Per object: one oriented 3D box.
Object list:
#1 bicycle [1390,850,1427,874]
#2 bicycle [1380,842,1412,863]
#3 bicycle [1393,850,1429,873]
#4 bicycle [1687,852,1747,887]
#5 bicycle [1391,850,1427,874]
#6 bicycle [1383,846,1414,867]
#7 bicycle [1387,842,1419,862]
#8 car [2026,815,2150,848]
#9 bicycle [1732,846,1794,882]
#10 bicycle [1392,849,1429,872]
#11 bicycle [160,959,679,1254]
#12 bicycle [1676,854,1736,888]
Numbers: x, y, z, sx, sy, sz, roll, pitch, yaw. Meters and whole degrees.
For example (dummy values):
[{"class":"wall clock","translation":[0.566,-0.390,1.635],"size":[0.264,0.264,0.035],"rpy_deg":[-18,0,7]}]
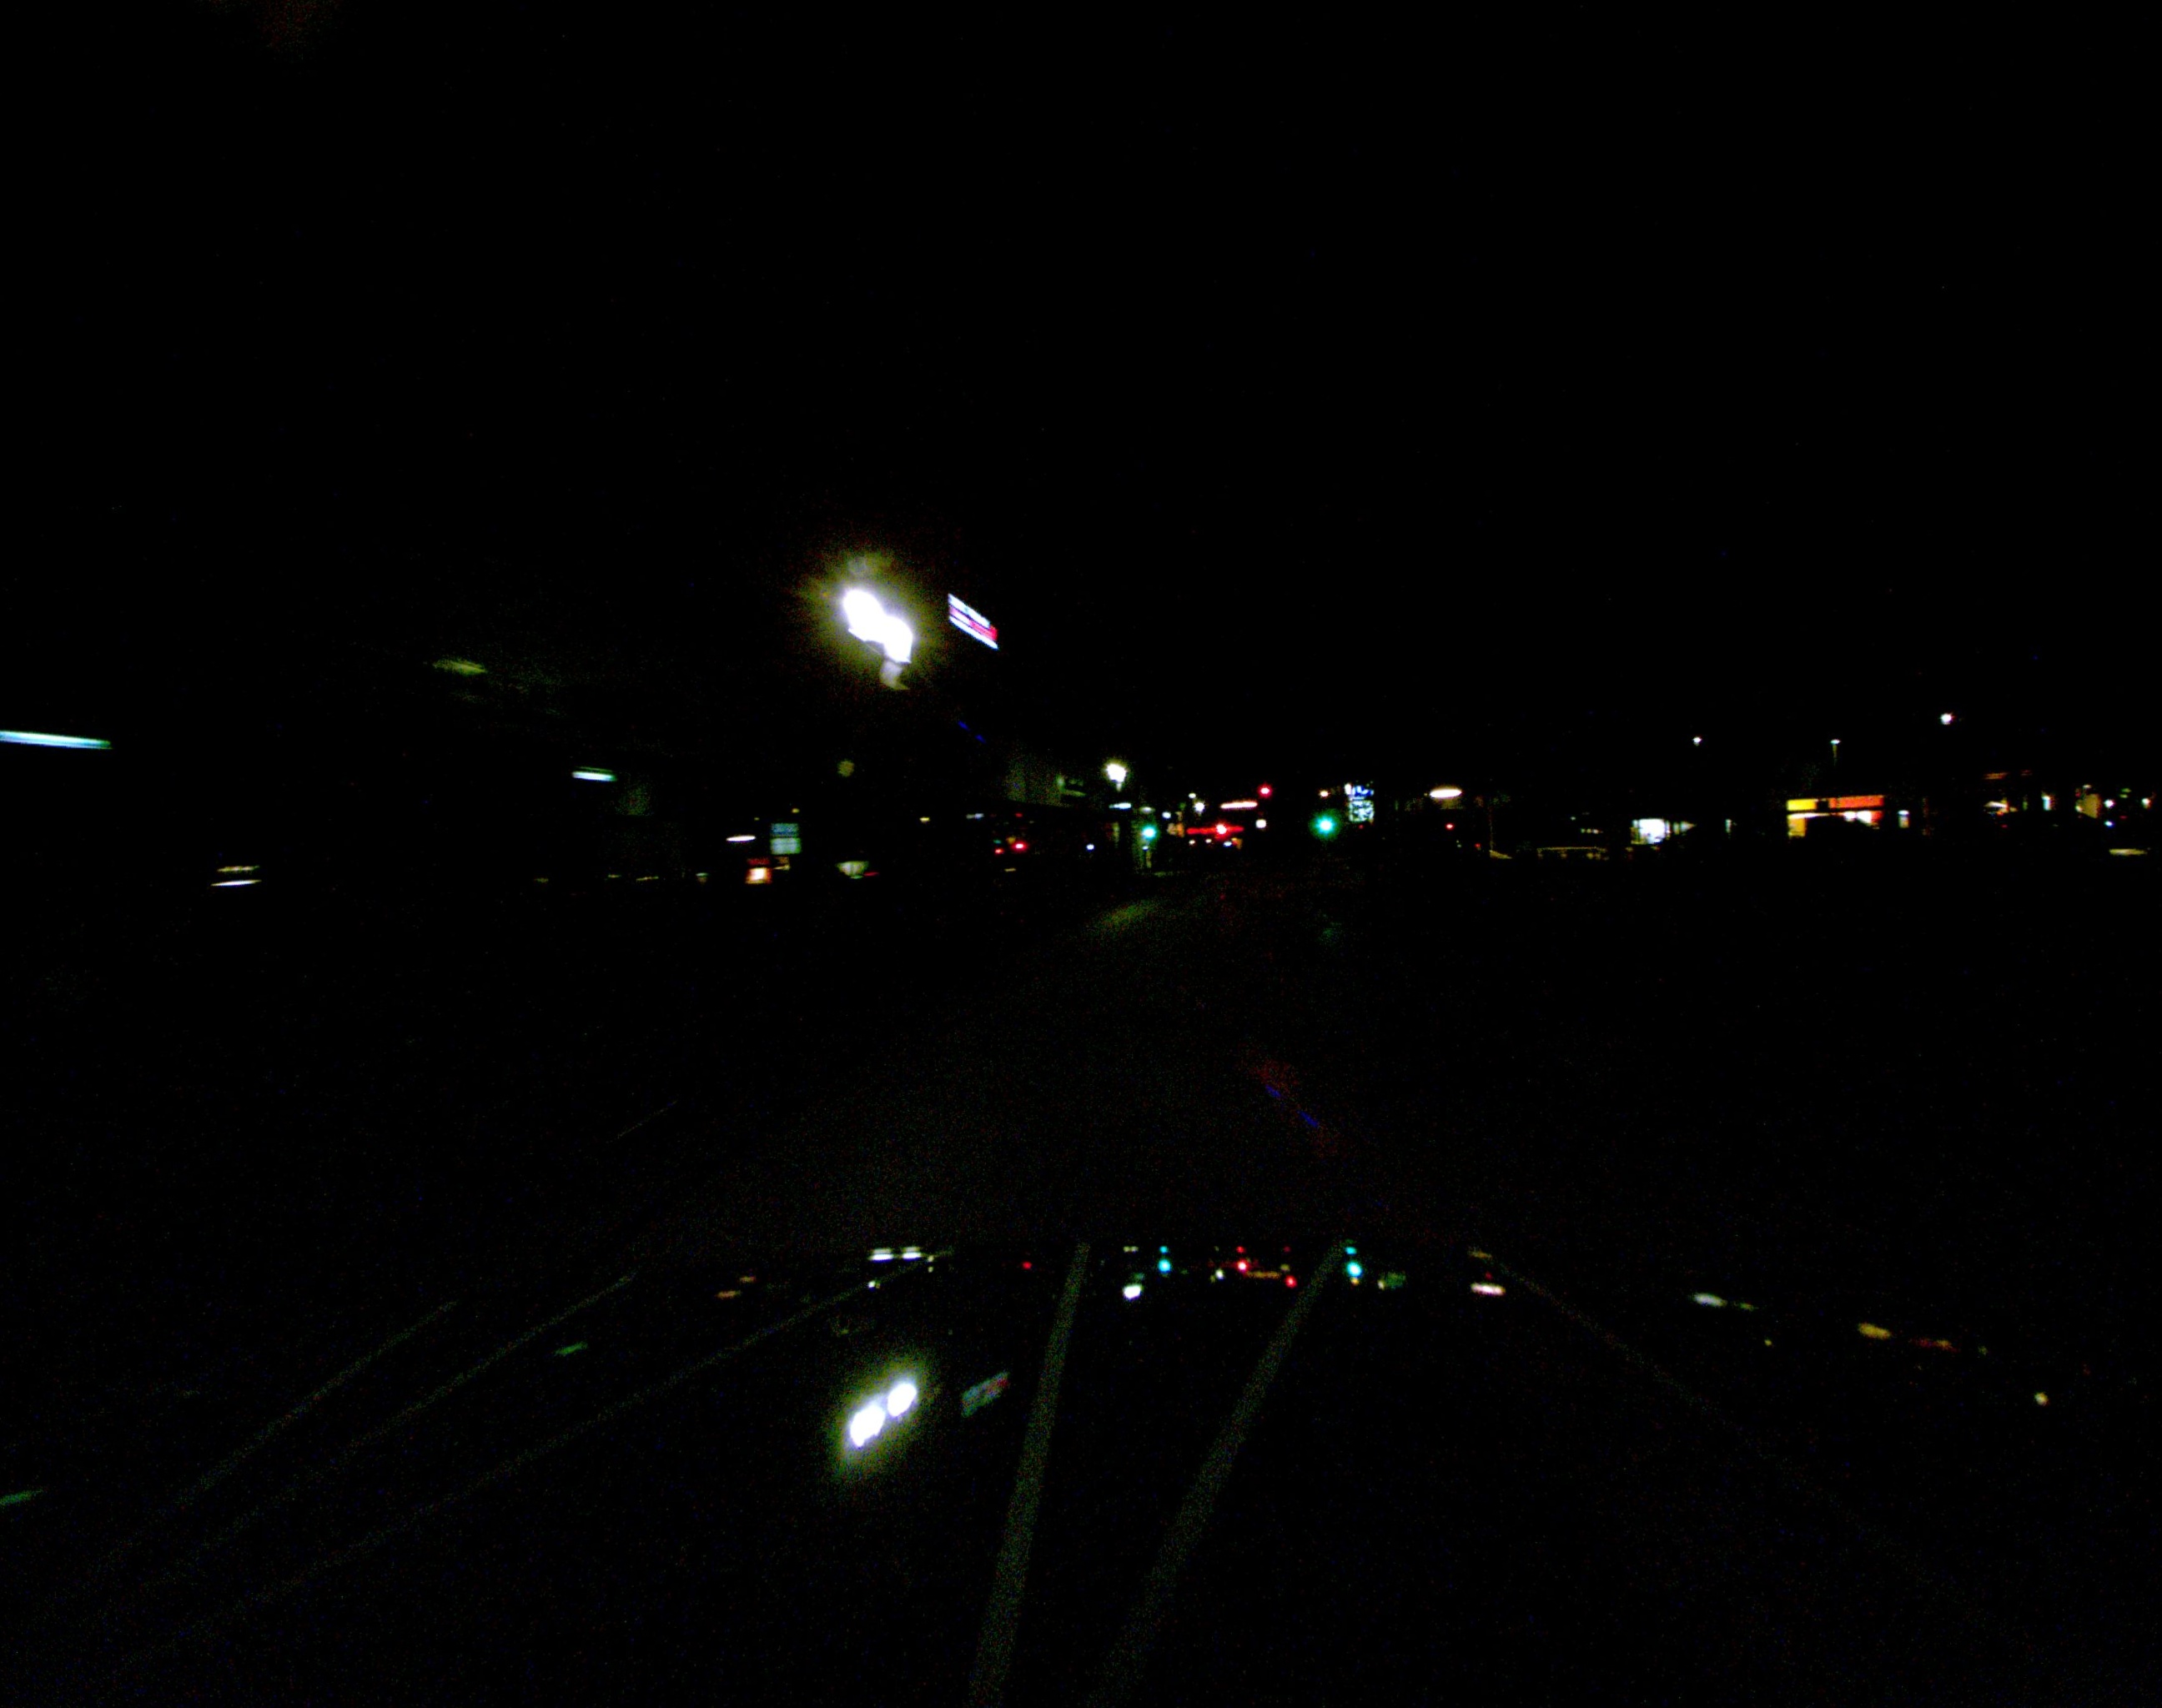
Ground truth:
[{"class":"bicycle","translation":[16.074,0.413,37.318],"size":[1.618,1.099,0.671],"rpy_deg":[-2,2,17]},{"class":"bicycle","translation":[19.710,-0.109,47.556],"size":[1.737,1.159,0.788],"rpy_deg":[-4,-1,22]},{"class":"bicycle","translation":[16.999,0.387,39.189],"size":[1.618,1.099,0.671],"rpy_deg":[-2,2,17]},{"class":"bicycle","translation":[22.145,0.526,26.490],"size":[0.608,1.158,1.747],"rpy_deg":[-1,0,0]},{"class":"bicycle","translation":[16.611,0.407,38.522],"size":[1.618,1.099,0.671],"rpy_deg":[-2,1,17]},{"class":"bicycle","translation":[20.188,0.163,48.279],"size":[1.737,1.150,0.788],"rpy_deg":[-4,1,22]},{"class":"bicycle","translation":[20.980,-0.154,49.589],"size":[1.836,1.150,0.788],"rpy_deg":[-4,1,22]},{"class":"car","translation":[64.658,-1.426,48.907],"size":[4.406,1.925,1.964],"rpy_deg":[-1,0,32]},{"class":"bicycle","translation":[24.054,0.342,26.827],"size":[0.608,1.211,1.747],"rpy_deg":[-1,0,0]},{"class":"bicycle","translation":[17.814,0.343,41.106],"size":[1.771,1.157,0.671],"rpy_deg":[-2,1,17]},{"class":"bicycle","translation":[-2.987,1.113,3.602],"size":[1.755,1.056,0.655],"rpy_deg":[-2,0,-7]},{"class":"bicycle","translation":[21.460,0.572,26.136],"size":[0.608,1.094,1.747],"rpy_deg":[-1,0,0]}]
